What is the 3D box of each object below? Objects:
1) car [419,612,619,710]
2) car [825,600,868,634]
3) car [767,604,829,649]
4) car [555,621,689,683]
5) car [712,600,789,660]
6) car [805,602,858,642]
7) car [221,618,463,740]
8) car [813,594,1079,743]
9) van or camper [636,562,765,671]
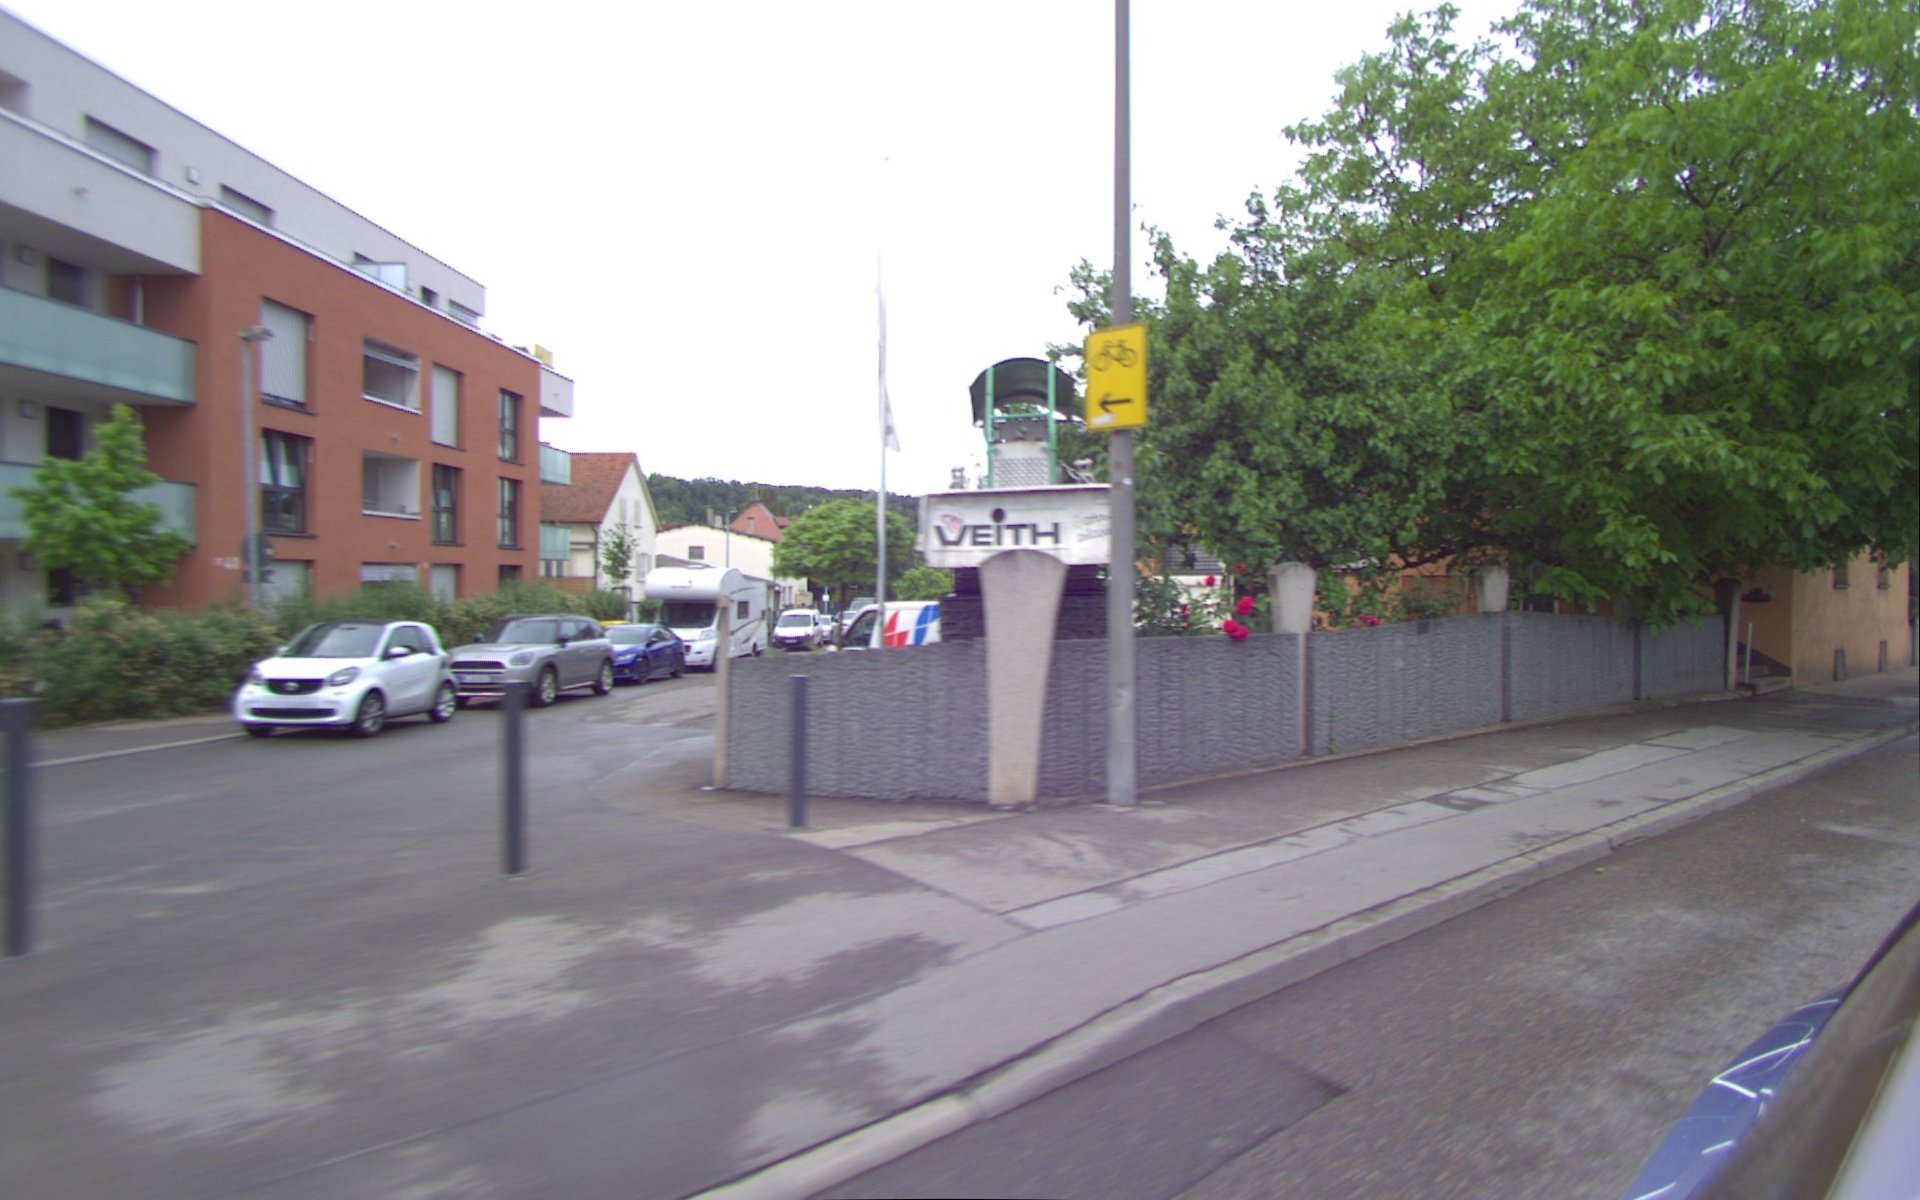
[{"bbox_3d":[-8.113,1.041,19.058,1.819,1.562,4.124,1,0,3],"label":"car"},{"bbox_3d":[-6.752,0.974,60.591,1.880,1.926,4.192,1,0,4],"label":"car"},{"bbox_3d":[-7.337,1.161,46.250,1.880,1.926,4.192,1,0,4],"label":"car"},{"bbox_3d":[-8.140,1.206,24.760,1.747,1.270,4.124,1,0,3],"label":"car"},{"bbox_3d":[-7.541,1.016,36.761,1.962,2.039,4.000,1,0,0],"label":"car"},{"bbox_3d":[-6.500,1.096,51.656,1.880,1.926,4.192,1,0,4],"label":"car"},{"bbox_3d":[-8.551,1.025,14.274,1.695,1.491,2.742,1,-1,1],"label":"car"},{"bbox_3d":[-0.348,0.883,15.202,1.962,1.894,4.135,1,-1,-36],"label":"car"},{"bbox_3d":[-7.868,0.486,31.416,2.283,3.033,5.946,1,0,2],"label":"van or camper"}]
